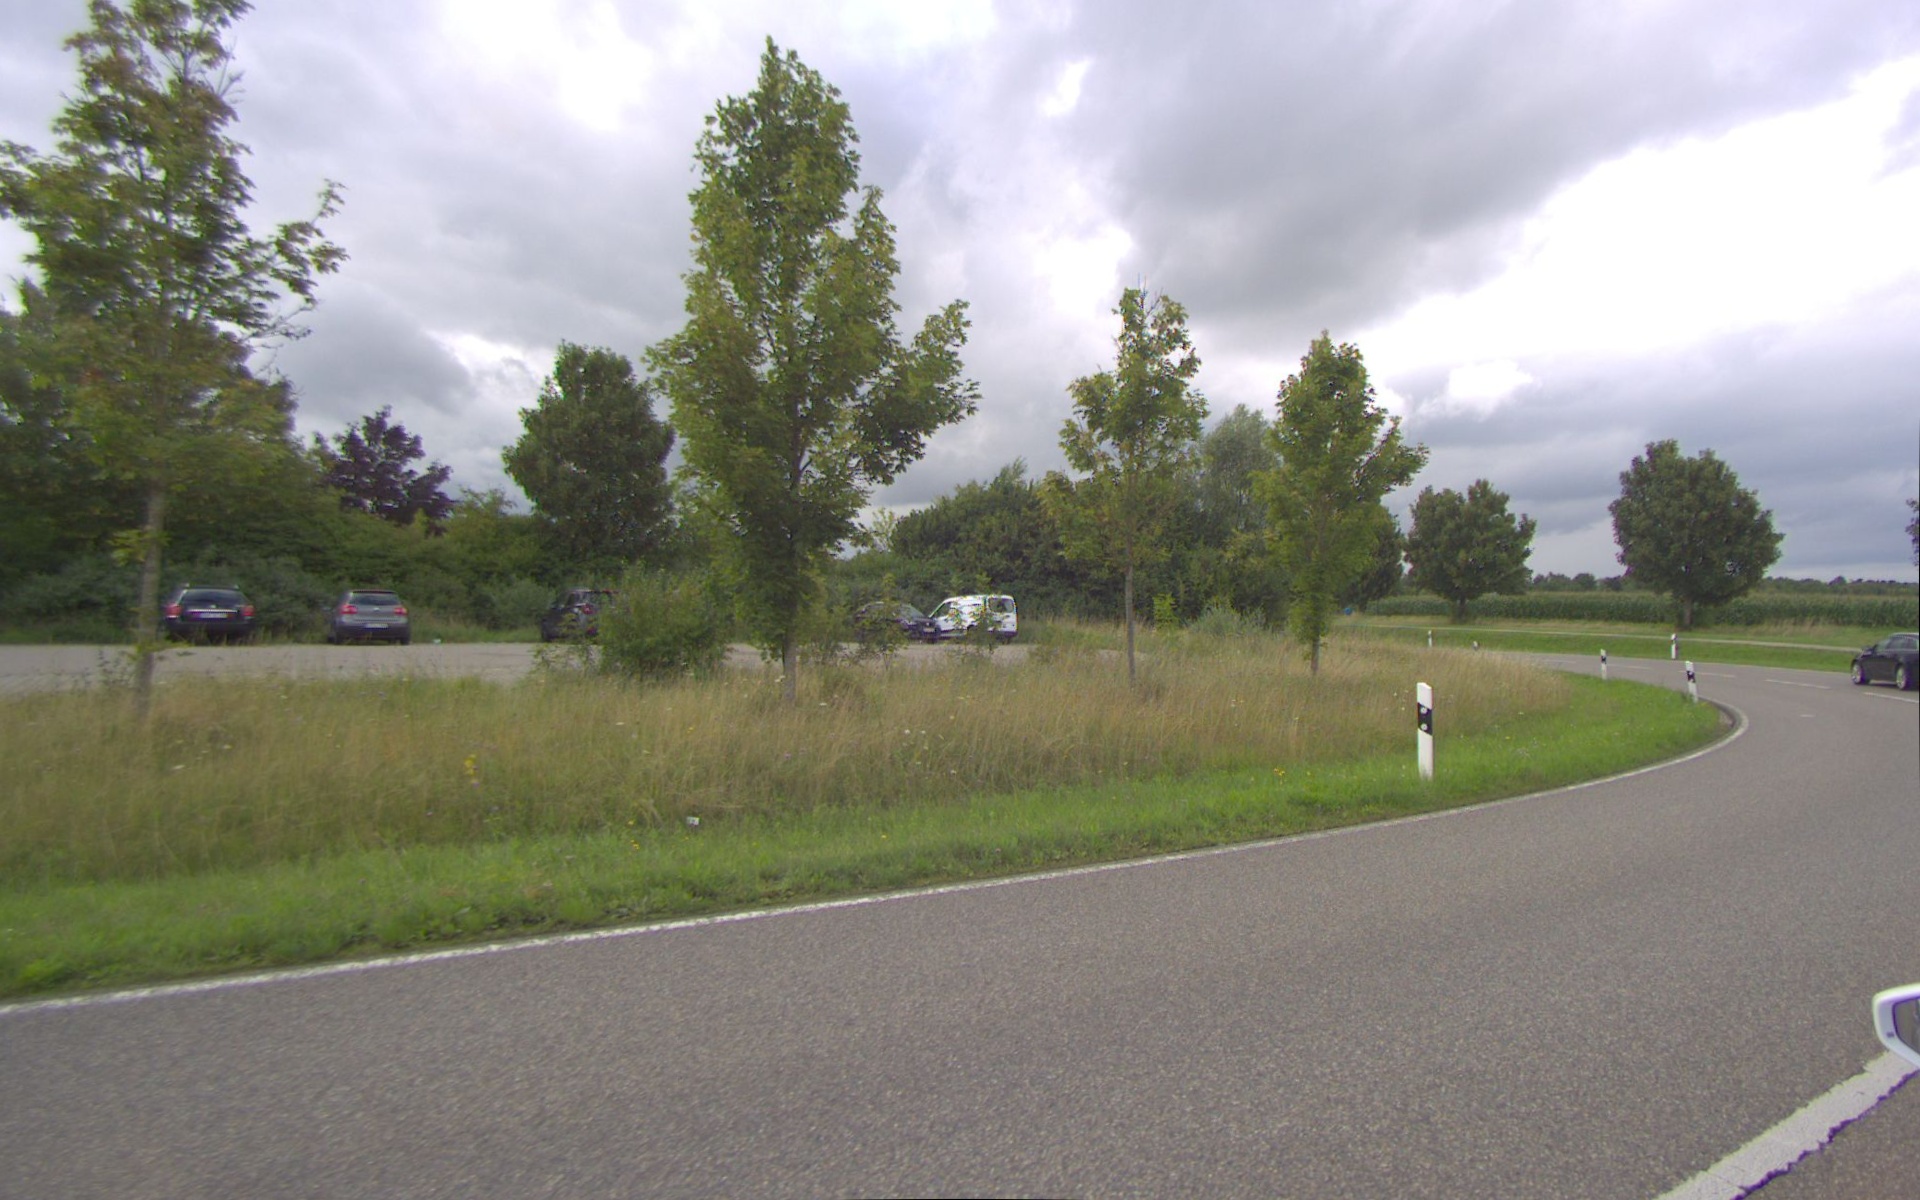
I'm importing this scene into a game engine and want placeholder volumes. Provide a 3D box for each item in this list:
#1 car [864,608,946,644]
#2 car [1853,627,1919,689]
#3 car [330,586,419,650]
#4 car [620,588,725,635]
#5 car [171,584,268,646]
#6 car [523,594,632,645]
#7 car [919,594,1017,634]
[{"bbox_3d":[-2.093,0.945,37.359,1.320,1.182,3.581,1,1,-36],"label":"car"},{"bbox_3d":[25.386,1.514,26.427,1.813,1.436,3.995,2,1,27],"label":"car"},{"bbox_3d":[-16.073,0.438,27.479,1.741,1.587,4.212,1,1,-35],"label":"car"},{"bbox_3d":[-9.470,0.346,32.941,3.943,1.398,1.467,2,1,43],"label":"car"},{"bbox_3d":[-18.512,0.325,25.162,1.807,1.398,3.958,1,1,-36],"label":"car"},{"bbox_3d":[-11.702,0.550,30.592,3.942,1.398,1.468,2,1,42],"label":"car"},{"bbox_3d":[0.262,0.512,38.814,1.465,1.398,3.950,1,1,-42],"label":"car"}]
